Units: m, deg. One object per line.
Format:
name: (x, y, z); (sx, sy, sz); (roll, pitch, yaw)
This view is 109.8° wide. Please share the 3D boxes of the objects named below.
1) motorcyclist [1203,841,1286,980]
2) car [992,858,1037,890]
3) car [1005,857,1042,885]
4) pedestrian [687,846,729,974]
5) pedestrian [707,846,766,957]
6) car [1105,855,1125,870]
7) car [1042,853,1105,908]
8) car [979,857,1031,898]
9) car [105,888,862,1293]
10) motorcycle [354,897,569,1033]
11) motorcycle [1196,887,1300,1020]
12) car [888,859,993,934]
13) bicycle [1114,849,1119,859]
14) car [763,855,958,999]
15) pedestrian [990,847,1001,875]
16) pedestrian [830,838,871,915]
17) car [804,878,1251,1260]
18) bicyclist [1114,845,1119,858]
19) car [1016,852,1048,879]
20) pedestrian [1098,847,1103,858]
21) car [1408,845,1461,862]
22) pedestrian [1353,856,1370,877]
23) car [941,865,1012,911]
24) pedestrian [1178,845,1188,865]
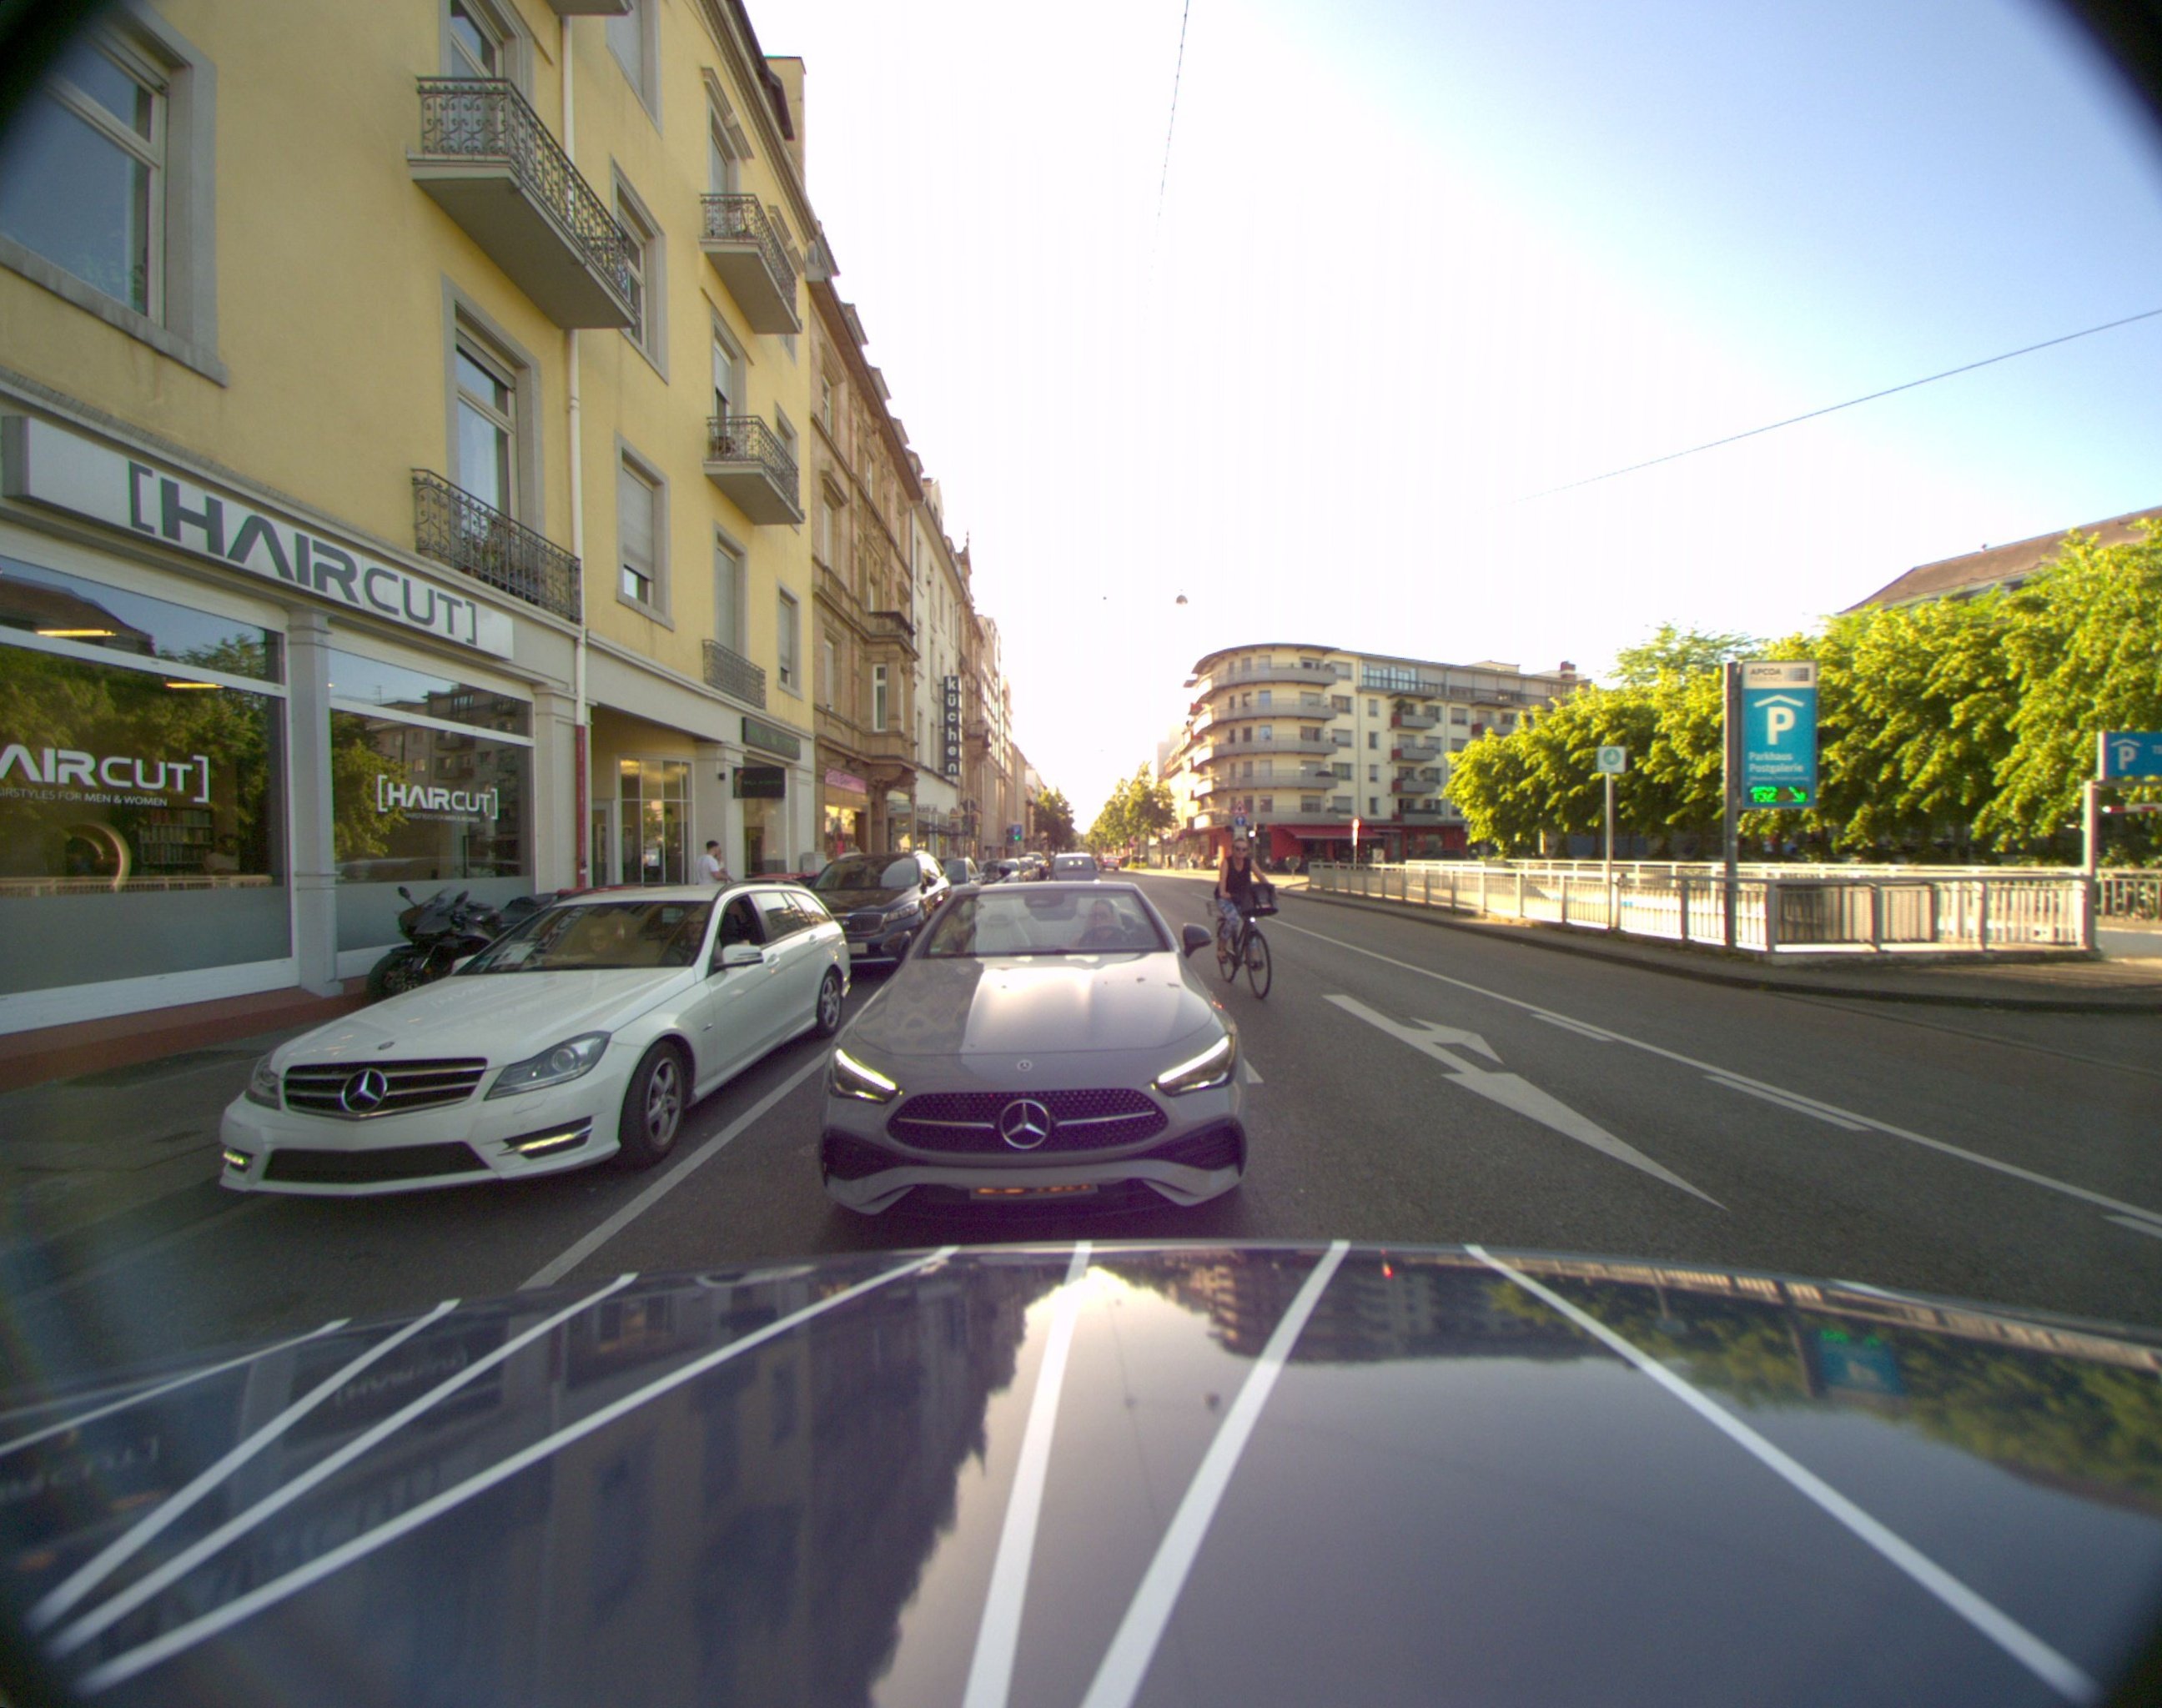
motorcyclist: (1.773, 0.587, 8.333); (0.722, 1.438, 0.705); (-2, 1, 1)
car: (-3.169, 0.916, 36.892); (1.802, 1.332, 3.838); (-2, 1, -1)
car: (-3.069, 0.867, 41.222); (1.725, 1.332, 3.668); (-2, 1, -1)
pedestrian: (-5.913, 0.859, 12.028); (0.375, 1.971, 0.692); (-2, 1, -43)
pedestrian: (-5.928, 0.800, 13.110); (0.664, 1.840, 0.575); (-2, 1, 2)
car: (3.412, 0.790, 76.218); (1.823, 1.346, 4.264); (1, 1, 1)
car: (-0.198, 0.793, 24.747); (1.856, 1.543, 3.999); (-2, 1, 1)
car: (-3.011, 0.889, 30.801); (1.660, 1.423, 4.085); (-2, 1, -1)
car: (-3.063, 1.070, 5.287); (1.704, 1.351, 4.378); (-2, 1, 1)
motorcycle: (-6.181, 1.043, 7.744); (0.567, 1.072, 1.954); (2, 1, 1)
motorcycle: (1.789, 1.020, 8.426); (0.720, 1.177, 1.906); (-2, 1, 1)
car: (-3.296, 0.941, 18.621); (1.802, 1.518, 4.085); (-2, 1, -1)
bicycle: (4.364, 0.003, 93.457); (0.527, 1.163, 1.593); (-2, 1, 4)
car: (-3.003, 0.885, 11.329); (1.803, 1.629, 4.243); (-2, 1, -3)
pedestrian: (-5.801, 0.485, 51.357); (0.574, 1.840, 0.665); (-2, 1, 1)
pedestrian: (-5.061, 0.482, 16.651); (0.720, 1.644, 0.604); (-2, 0, -26)
car: (-0.262, 0.953, 5.156); (1.802, 1.351, 3.999); (-2, 1, -1)
bicyclist: (4.344, -0.301, 93.397); (0.524, 1.539, 0.798); (-2, 1, 4)
car: (-3.011, 0.692, 47.501); (1.725, 1.506, 4.004); (-2, 1, -1)
pedestrian: (3.321, -0.253, 130.225); (0.860, 2.002, 0.889); (-2, 1, 1)
car: (29.047, -0.060, 62.433); (4.004, 1.294, 1.753); (-2, 1, -23)
pedestrian: (21.787, 0.962, 59.036); (0.863, 1.586, 0.887); (-3, 1, -38)
car: (-3.392, 1.067, 25.436); (1.802, 1.259, 4.085); (-2, 1, -1)
pedestrian: (10.428, 0.060, 77.677); (0.860, 2.002, 0.889); (-2, 1, 0)
